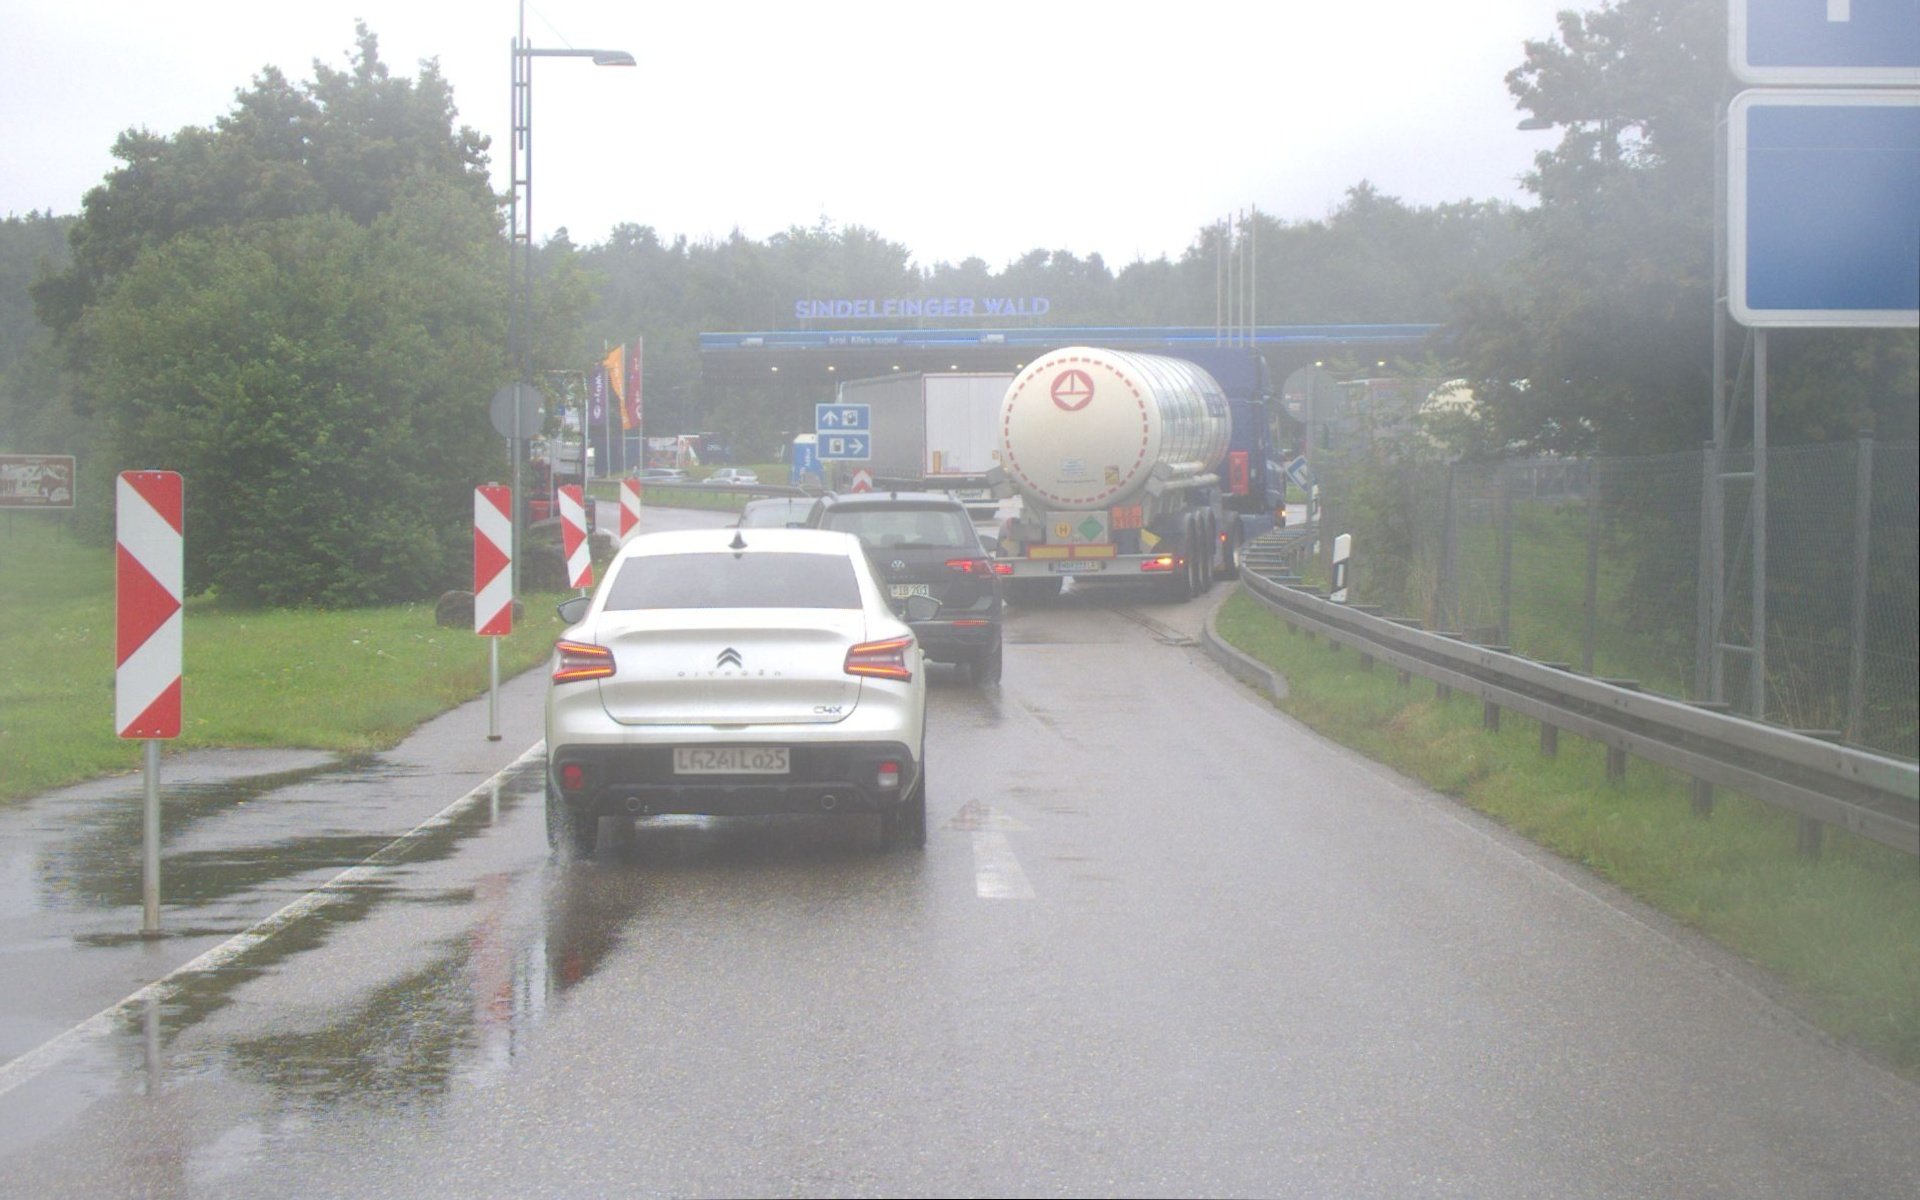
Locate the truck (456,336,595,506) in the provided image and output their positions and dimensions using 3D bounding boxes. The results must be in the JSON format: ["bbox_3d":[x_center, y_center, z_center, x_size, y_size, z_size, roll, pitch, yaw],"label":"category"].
[{"bbox_3d":[-10.442,-4.267,82.234,2.914,3.890,6.319,-1,3,-10],"label":"truck"}]

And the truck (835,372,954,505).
[{"bbox_3d":[-2.033,-4.917,104.171,2.370,3.860,7.014,-1,3,-11],"label":"truck"}]

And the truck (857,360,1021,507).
[{"bbox_3d":[-0.732,-4.725,97.414,2.370,3.860,12.460,-1,3,-11],"label":"truck"}]

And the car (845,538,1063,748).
[{"bbox_3d":[-0.043,0.329,30.323,1.742,1.661,4.000,2,1,0],"label":"car"}]

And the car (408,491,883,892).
[{"bbox_3d":[-1.402,0.351,16.816,1.993,1.673,4.000,-2,1,-1],"label":"car"}]

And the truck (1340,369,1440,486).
[{"bbox_3d":[14.299,-5.761,114.527,2.425,3.792,4.002,-1,4,-6],"label":"truck"}]

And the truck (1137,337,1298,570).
[{"bbox_3d":[4.143,-2.329,54.604,2.054,3.518,4.744,0,3,10],"label":"truck"}]

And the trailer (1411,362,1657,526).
[{"bbox_3d":[13.014,-3.515,77.053,2.134,3.428,10.237,1,3,29],"label":"trailer"}]

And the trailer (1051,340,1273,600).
[{"bbox_3d":[2.963,-1.852,47.786,1.981,3.213,10.318,0,3,9],"label":"trailer"}]
